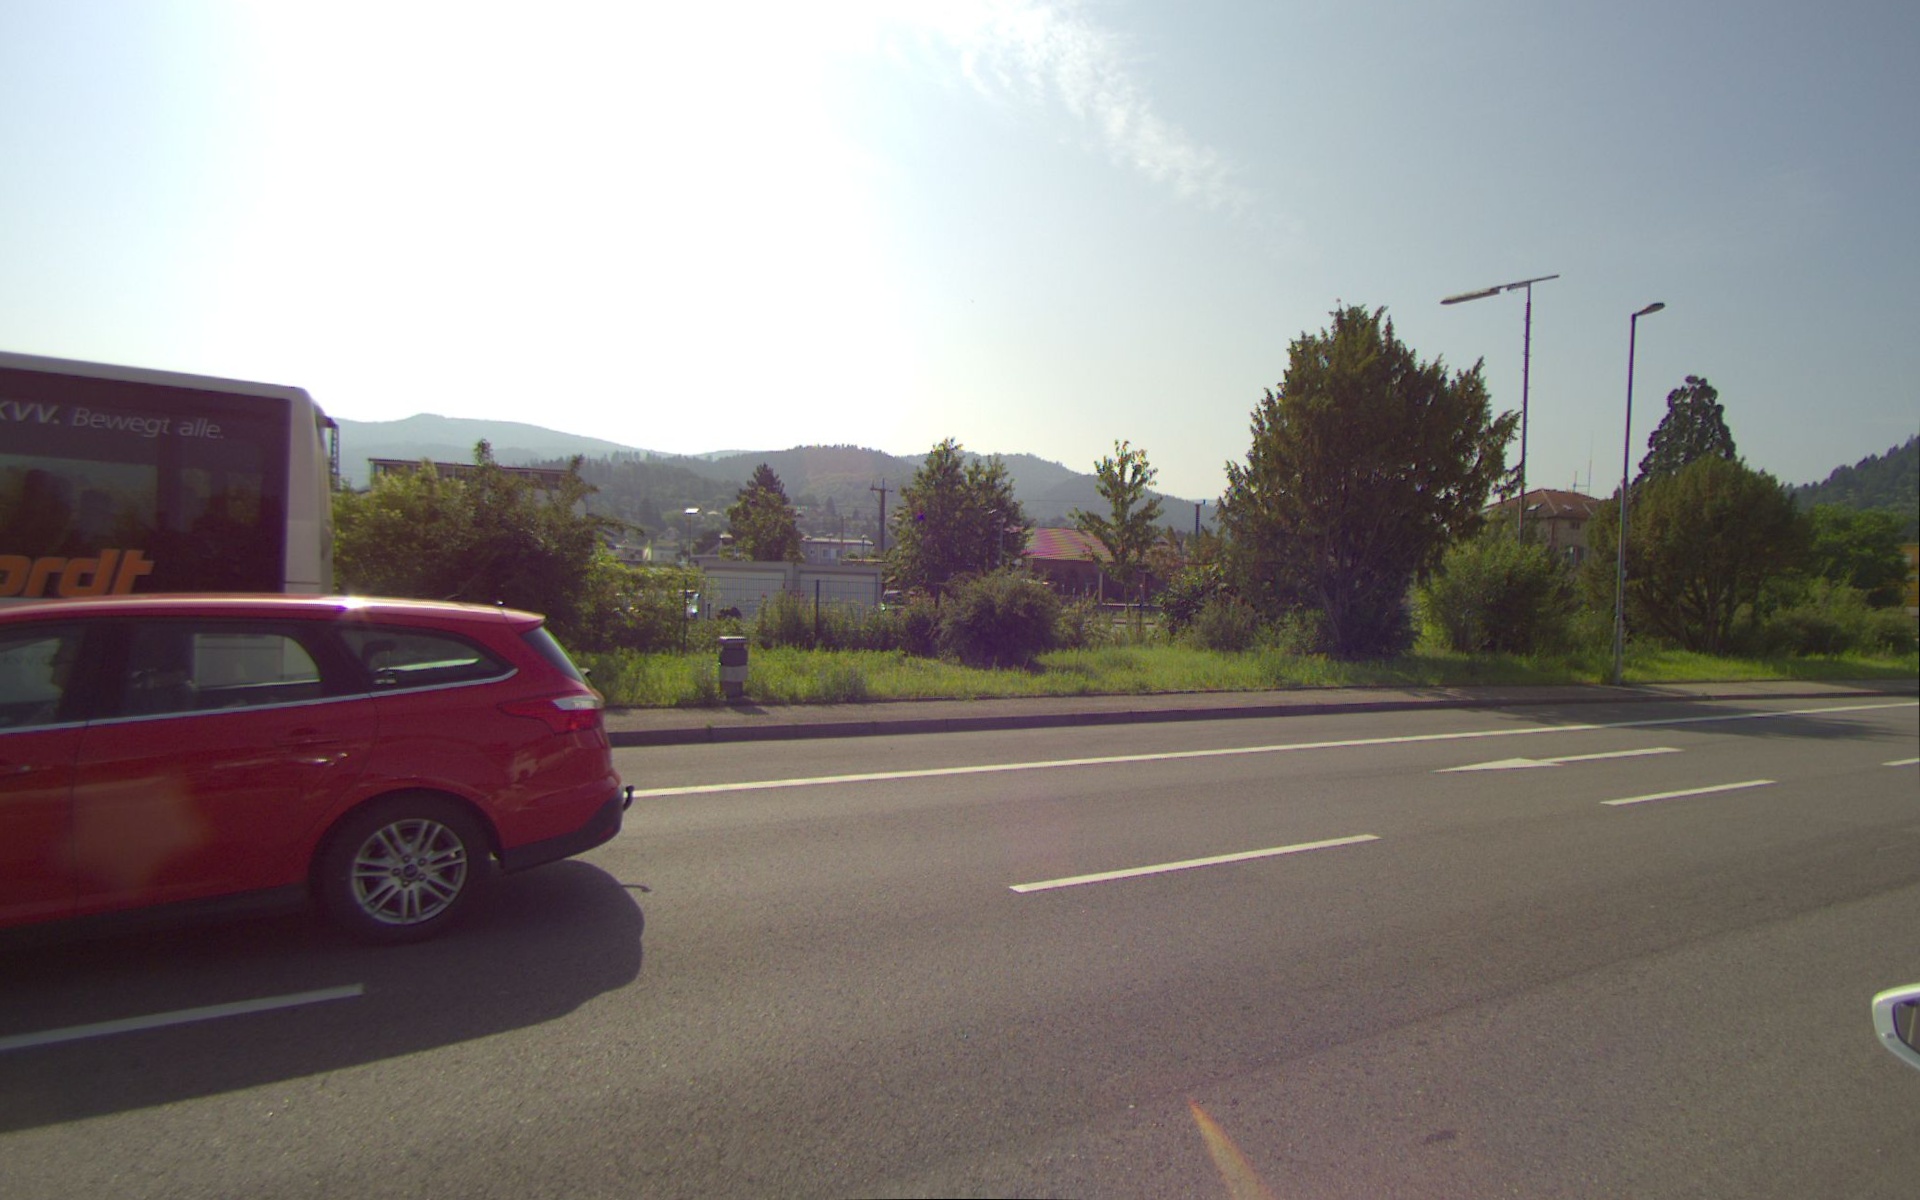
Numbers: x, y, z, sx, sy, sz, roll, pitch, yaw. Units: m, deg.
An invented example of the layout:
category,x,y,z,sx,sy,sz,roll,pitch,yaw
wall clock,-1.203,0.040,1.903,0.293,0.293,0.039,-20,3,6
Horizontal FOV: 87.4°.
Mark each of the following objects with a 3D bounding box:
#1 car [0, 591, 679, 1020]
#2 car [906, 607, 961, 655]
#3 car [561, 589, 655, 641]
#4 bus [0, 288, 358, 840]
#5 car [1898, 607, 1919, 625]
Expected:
category,x,y,z,sx,sy,sz,roll,pitch,yaw
car,-3.678,0.732,4.435,4.380,1.512,1.828,1,-1,-31
car,-1.017,1.097,36.700,1.851,1.626,3.998,1,-1,-4
car,-11.366,0.470,32.285,1.979,1.571,3.963,1,-1,-33
bus,-10.015,-0.308,5.113,11.818,3.354,2.608,1,-1,-31
car,108.156,1.787,114.228,1.788,2.041,3.982,1,1,39
